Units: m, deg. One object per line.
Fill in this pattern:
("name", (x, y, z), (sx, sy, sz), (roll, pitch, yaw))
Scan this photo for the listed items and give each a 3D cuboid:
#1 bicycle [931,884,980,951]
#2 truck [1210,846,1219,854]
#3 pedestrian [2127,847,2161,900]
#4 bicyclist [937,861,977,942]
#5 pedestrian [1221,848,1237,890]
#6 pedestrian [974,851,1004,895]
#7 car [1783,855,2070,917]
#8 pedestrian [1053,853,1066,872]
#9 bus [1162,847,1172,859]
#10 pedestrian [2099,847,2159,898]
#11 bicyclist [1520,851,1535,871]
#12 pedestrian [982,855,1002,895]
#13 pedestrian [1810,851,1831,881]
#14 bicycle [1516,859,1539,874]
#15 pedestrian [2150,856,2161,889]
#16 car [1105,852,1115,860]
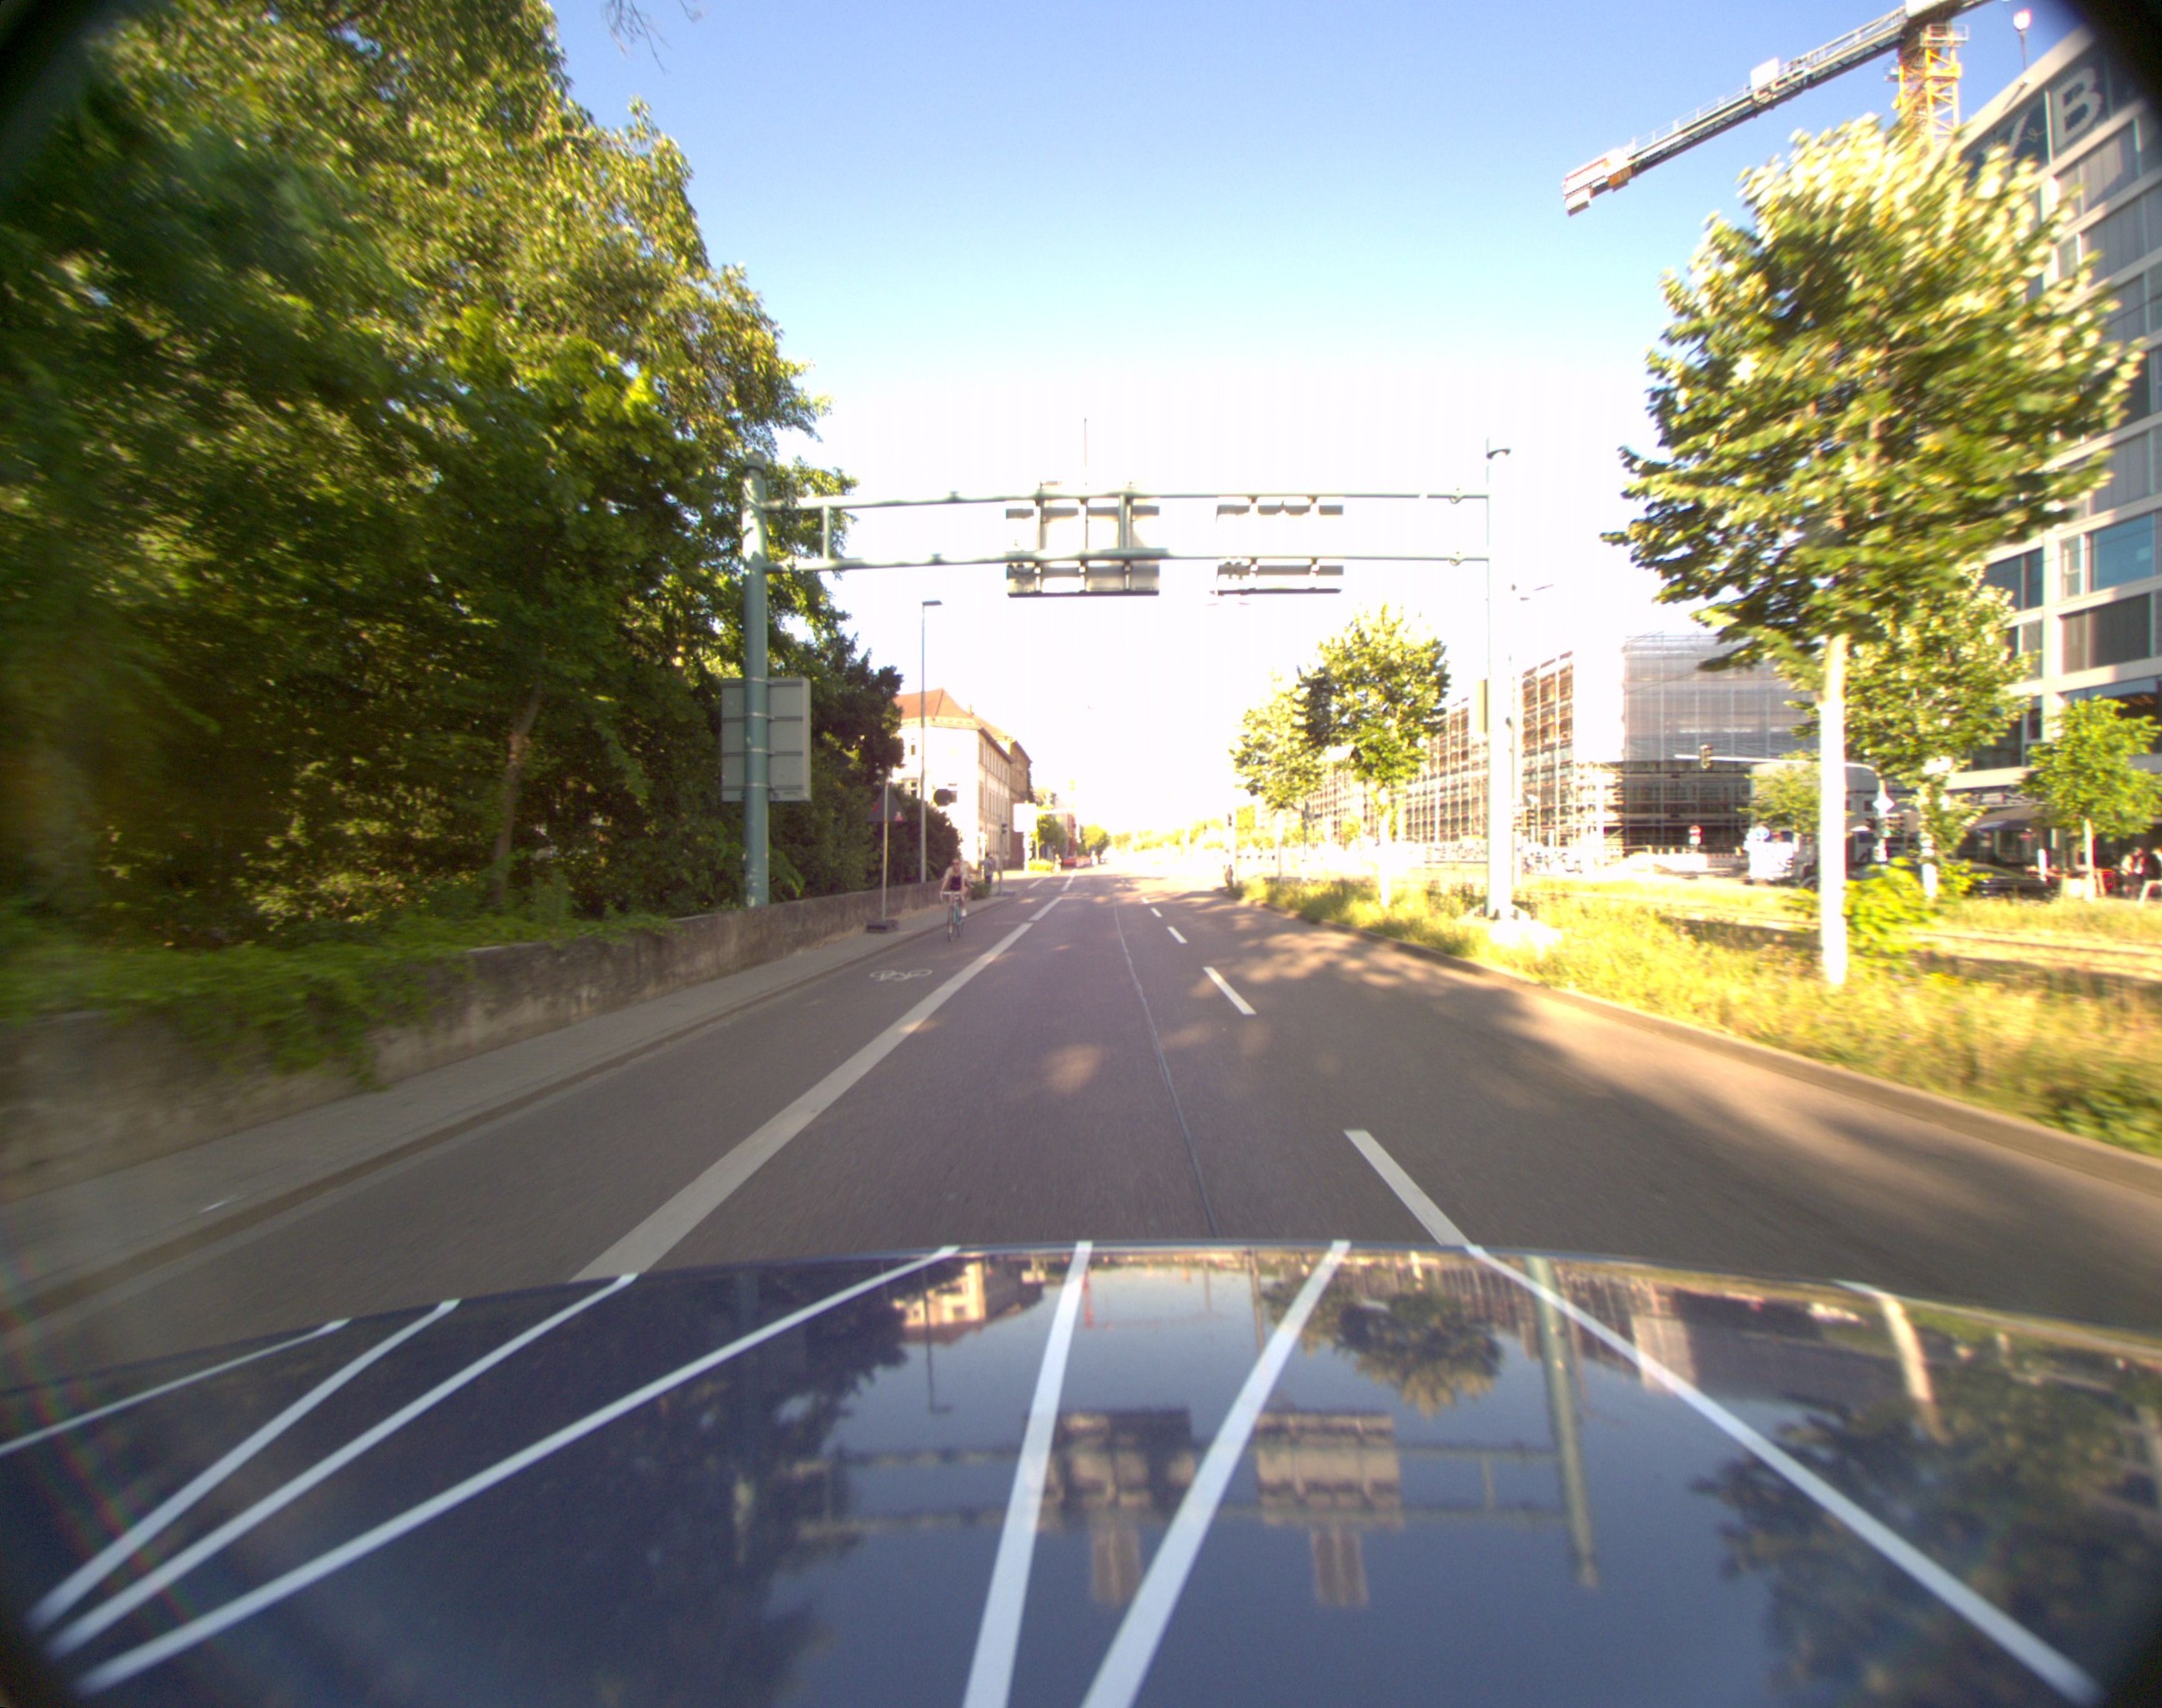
("bicycle", (-2.375, 1.175, 14.528), (0.522, 1.091, 1.843), (-3, 0, 2))
("truck", (38.969, -1.147, 221.804), (2.143, 2.559, 4.741), (0, 0, 4))
("pedestrian", (35.531, 0.634, 25.061), (0.871, 1.711, 0.804), (0, 1, 11))
("bicyclist", (-2.367, 0.879, 14.553), (0.553, 1.482, 1.081), (0, 0, 2))
("pedestrian", (5.951, 0.591, 30.556), (0.599, 1.689, 0.714), (0, 1, 7))
("pedestrian", (-3.810, 0.790, 31.512), (0.861, 1.792, 0.905), (1, 1, -33))
("car", (20.824, 0.710, 19.124), (1.895, 1.336, 4.850), (0, 0, 1))
("pedestrian", (-1.906, 0.713, 67.034), (0.924, 1.639, 0.767), (0, 1, 39))
("bus", (23.657, -0.188, 209.598), (2.722, 3.203, 8.660), (0, 0, 6))
("pedestrian", (35.635, 0.629, 25.852), (0.871, 1.711, 0.804), (0, 1, 11))
("bicyclist", (33.050, 0.494, 56.283), (0.626, 1.456, 0.851), (0, 1, 5))
("pedestrian", (-3.778, 0.887, 32.279), (0.768, 1.627, 0.769), (2, 1, -8))
("pedestrian", (36.953, 0.606, 37.985), (0.589, 1.490, 0.575), (-1, 1, -27))
("bicycle", (33.062, 0.903, 56.307), (0.626, 1.060, 2.078), (0, 0, 5))
("pedestrian", (40.070, 0.693, 28.076), (0.432, 1.215, 0.497), (0, 1, 2))
("car", (6.697, 0.446, 176.101), (1.998, 1.696, 3.999), (0, 0, 0))
